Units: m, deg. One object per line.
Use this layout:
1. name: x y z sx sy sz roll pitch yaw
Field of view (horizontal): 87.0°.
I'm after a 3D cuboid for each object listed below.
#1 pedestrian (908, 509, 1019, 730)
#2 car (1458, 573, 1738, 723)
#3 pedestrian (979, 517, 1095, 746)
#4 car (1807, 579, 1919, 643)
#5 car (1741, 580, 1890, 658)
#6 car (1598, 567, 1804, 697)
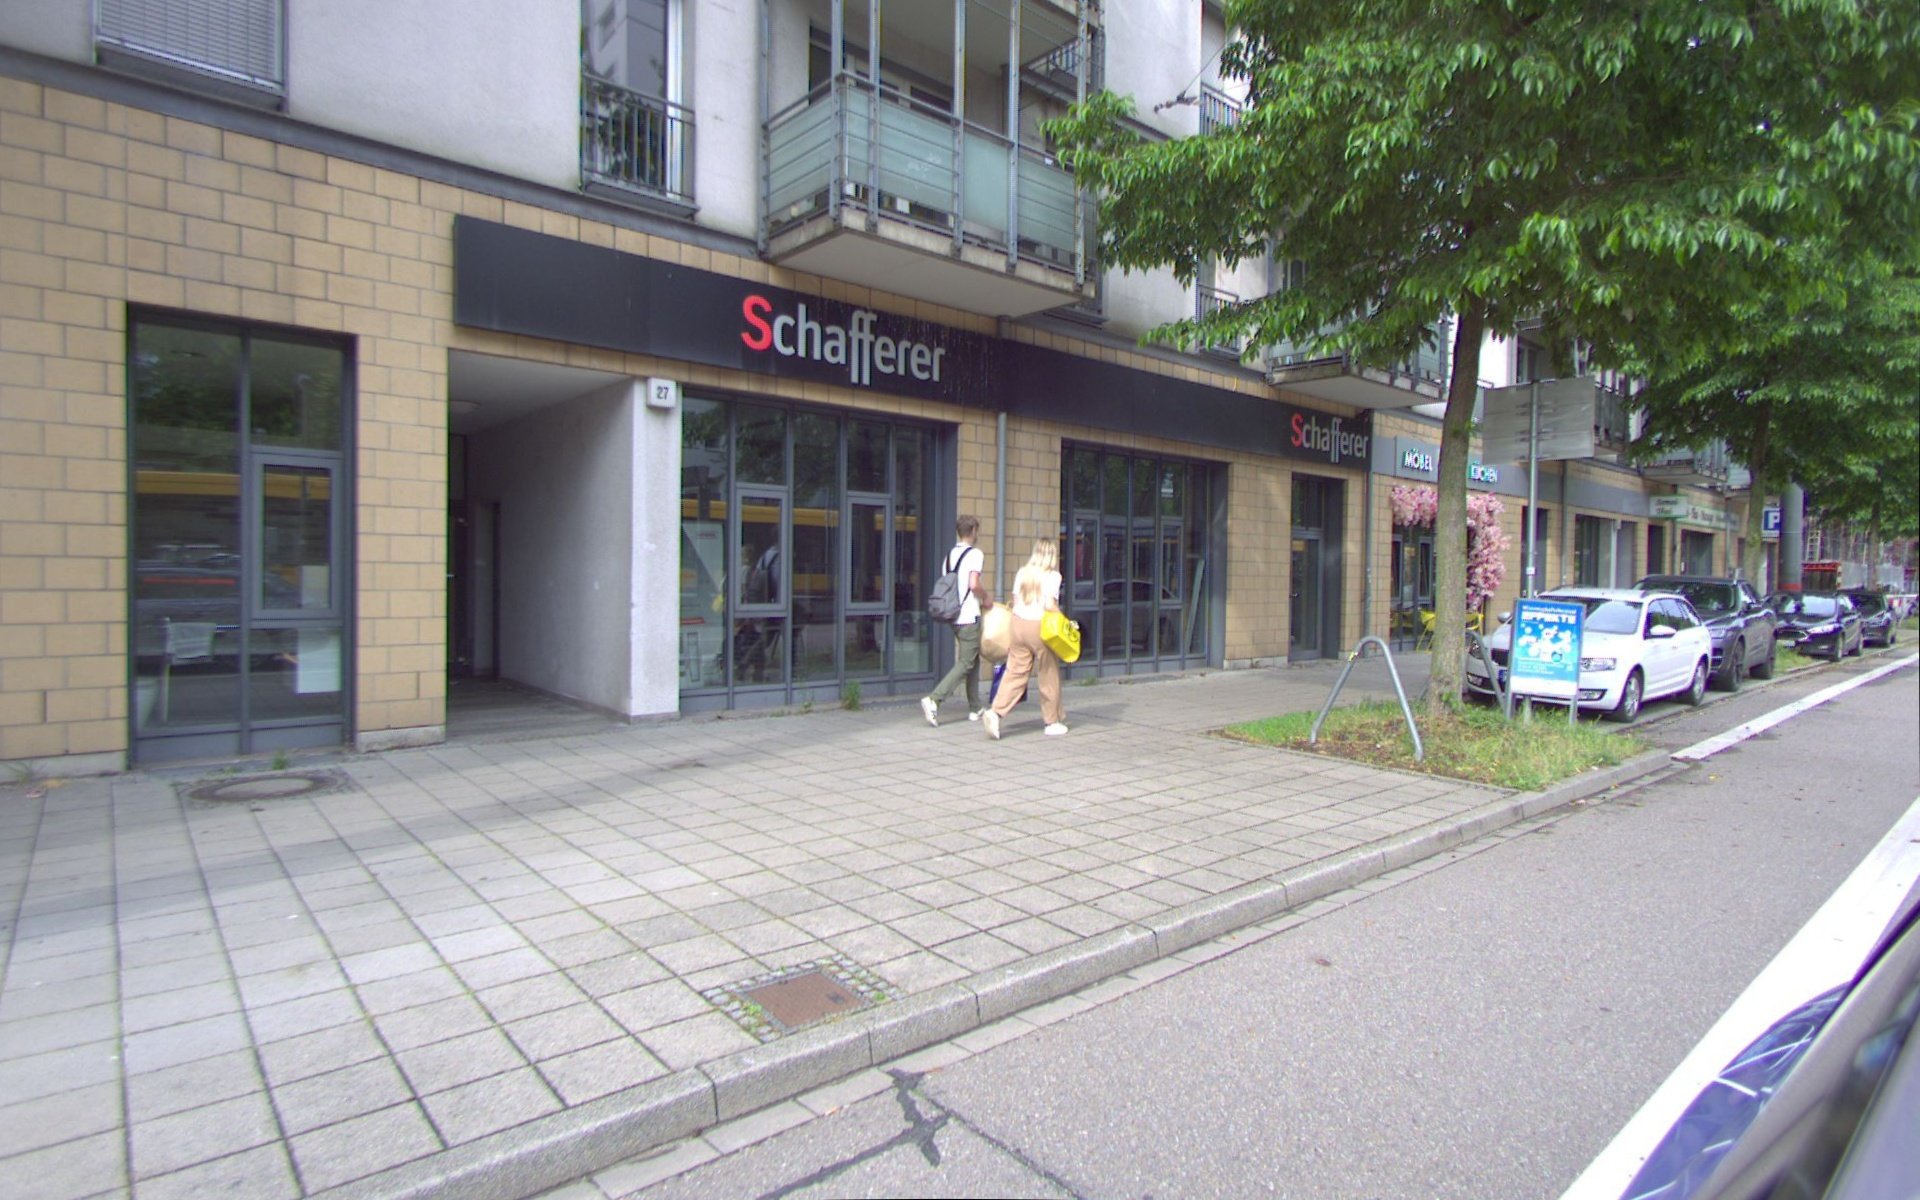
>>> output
1. pedestrian: 0.033 0.153 9.230 0.724 1.914 0.677 0 2 -39
2. car: 8.131 0.463 12.744 4.312 1.517 1.681 -1 4 -40
3. pedestrian: 0.647 0.237 8.517 0.724 1.828 0.617 0 2 -39
4. car: 24.375 0.236 27.252 4.315 1.472 1.800 -1 5 -43
5. car: 18.722 0.337 22.084 4.329 1.459 1.681 -1 4 -40
6. car: 11.985 0.384 16.238 4.632 1.737 1.715 -1 4 -42
